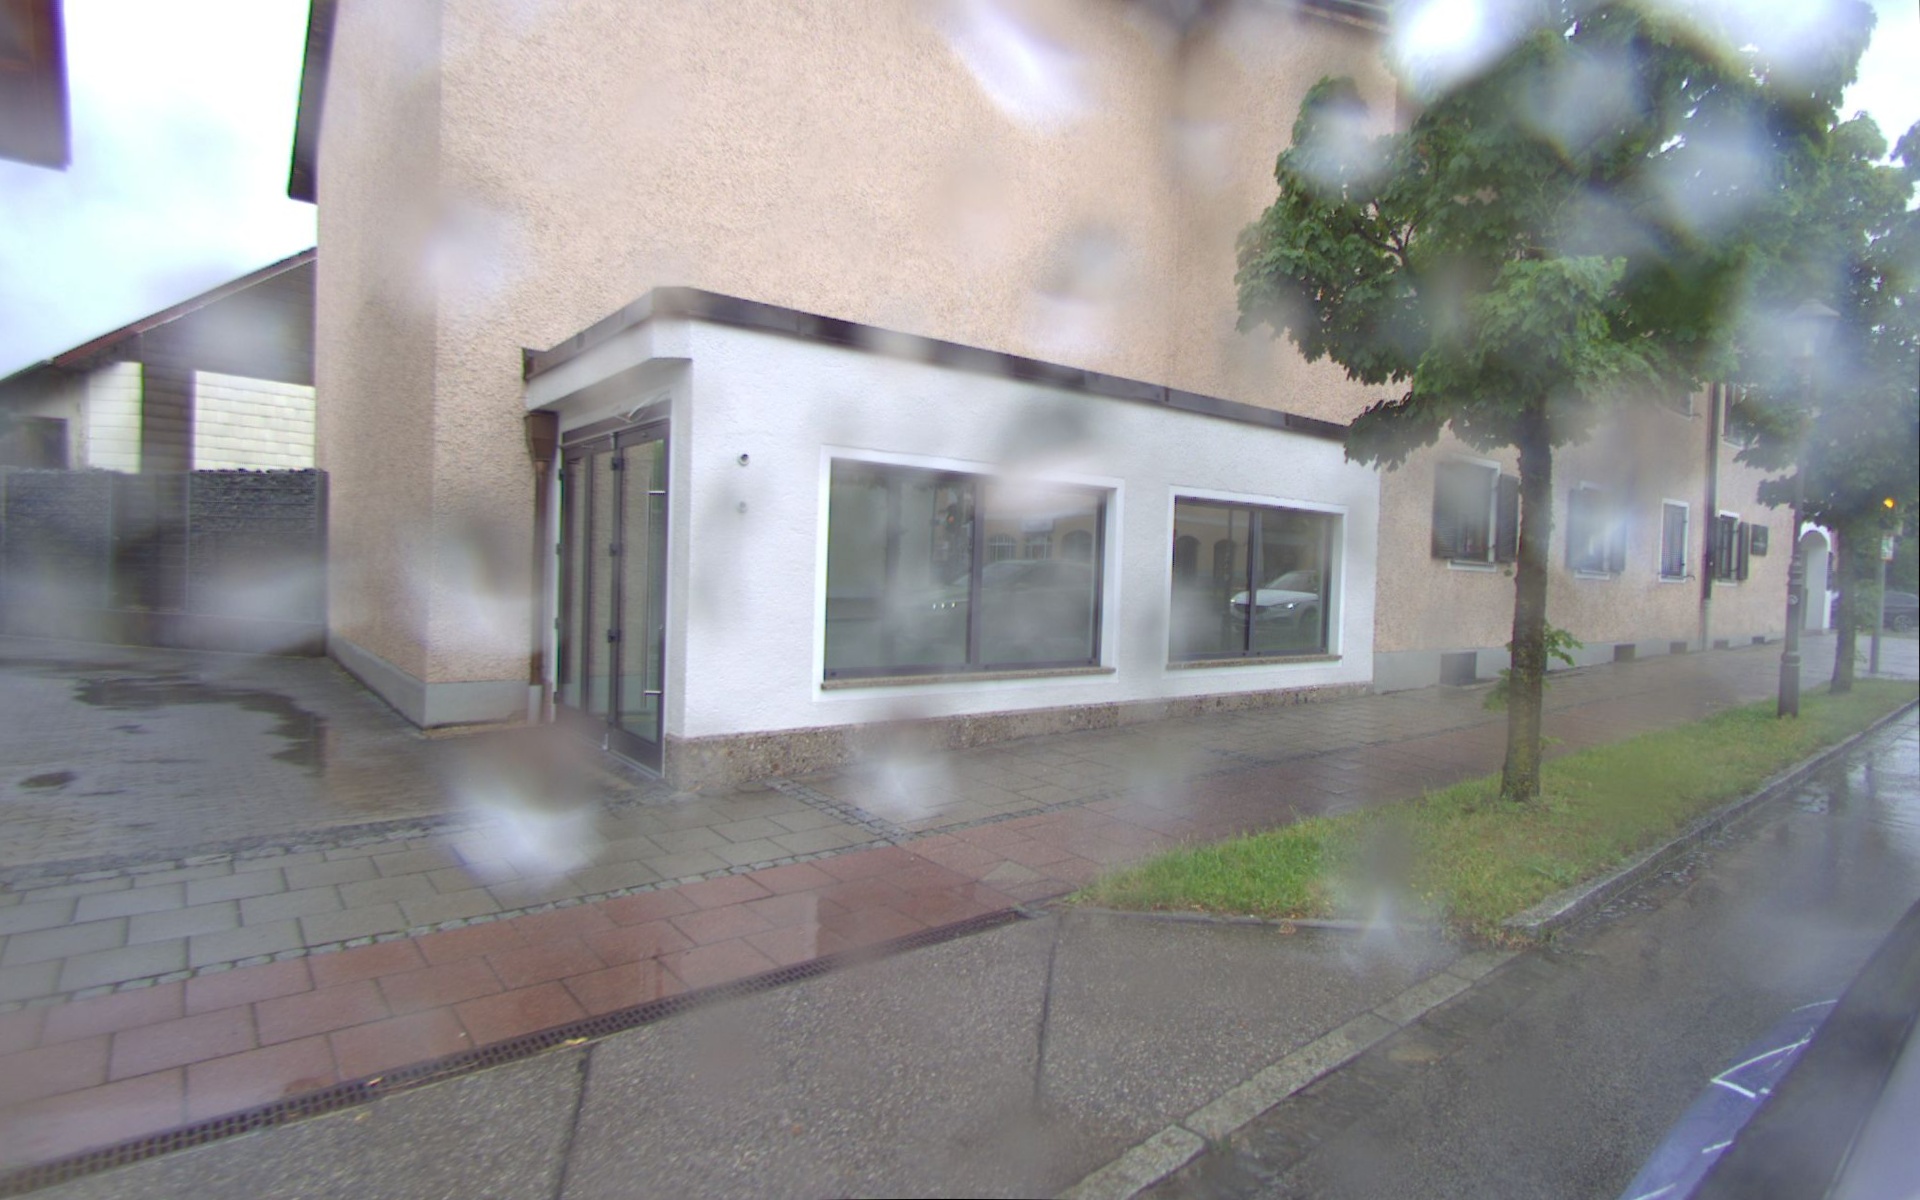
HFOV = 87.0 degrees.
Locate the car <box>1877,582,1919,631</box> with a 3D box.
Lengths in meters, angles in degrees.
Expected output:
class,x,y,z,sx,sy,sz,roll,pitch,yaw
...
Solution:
class,x,y,z,sx,sy,sz,roll,pitch,yaw
car,35.417,0.310,35.828,4.004,1.685,1.838,4,3,31
